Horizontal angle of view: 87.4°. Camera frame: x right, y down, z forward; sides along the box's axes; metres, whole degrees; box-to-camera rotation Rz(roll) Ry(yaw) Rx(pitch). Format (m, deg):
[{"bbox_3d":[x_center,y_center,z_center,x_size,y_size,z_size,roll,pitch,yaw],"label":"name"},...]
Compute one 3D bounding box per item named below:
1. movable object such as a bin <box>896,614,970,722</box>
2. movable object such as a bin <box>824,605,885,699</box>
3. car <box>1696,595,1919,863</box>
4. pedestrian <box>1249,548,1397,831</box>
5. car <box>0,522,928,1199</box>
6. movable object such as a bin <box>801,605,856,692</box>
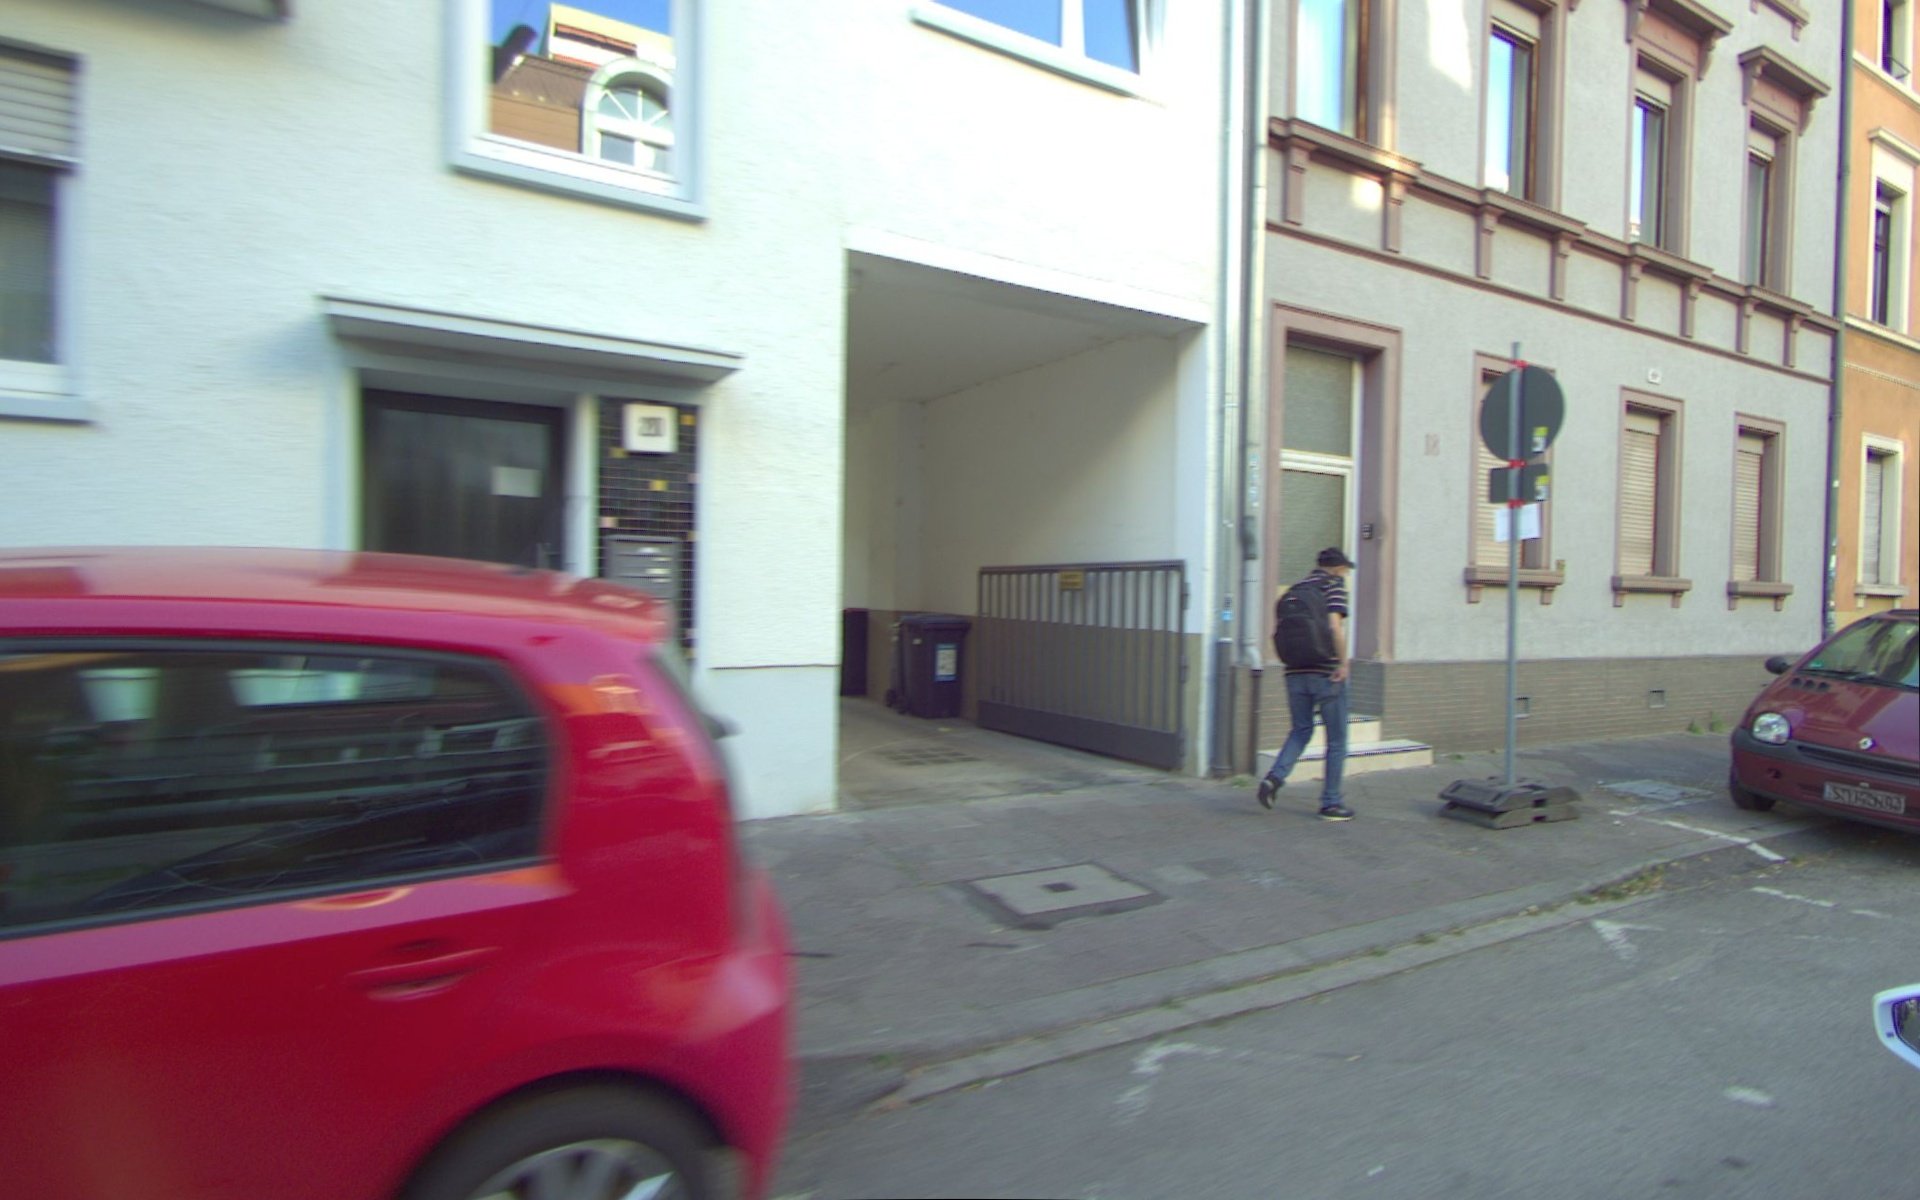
[{"bbox_3d":[-0.292,0.696,10.549,0.534,1.070,0.600,1,2,-29],"label":"movable object such as a bin"},{"bbox_3d":[-1.311,0.632,12.473,0.534,1.096,0.600,1,2,-29],"label":"movable object such as a bin"},{"bbox_3d":[6.793,0.780,6.859,3.248,1.468,1.648,1,4,-31],"label":"car"},{"bbox_3d":[2.248,0.520,6.234,0.658,1.660,0.493,1,2,-30],"label":"pedestrian"},{"bbox_3d":[-2.046,0.636,1.995,3.556,1.506,1.663,1,6,-25],"label":"car"},{"bbox_3d":[-1.763,0.638,13.446,0.503,1.107,0.624,1,2,-29],"label":"movable object such as a bin"}]
